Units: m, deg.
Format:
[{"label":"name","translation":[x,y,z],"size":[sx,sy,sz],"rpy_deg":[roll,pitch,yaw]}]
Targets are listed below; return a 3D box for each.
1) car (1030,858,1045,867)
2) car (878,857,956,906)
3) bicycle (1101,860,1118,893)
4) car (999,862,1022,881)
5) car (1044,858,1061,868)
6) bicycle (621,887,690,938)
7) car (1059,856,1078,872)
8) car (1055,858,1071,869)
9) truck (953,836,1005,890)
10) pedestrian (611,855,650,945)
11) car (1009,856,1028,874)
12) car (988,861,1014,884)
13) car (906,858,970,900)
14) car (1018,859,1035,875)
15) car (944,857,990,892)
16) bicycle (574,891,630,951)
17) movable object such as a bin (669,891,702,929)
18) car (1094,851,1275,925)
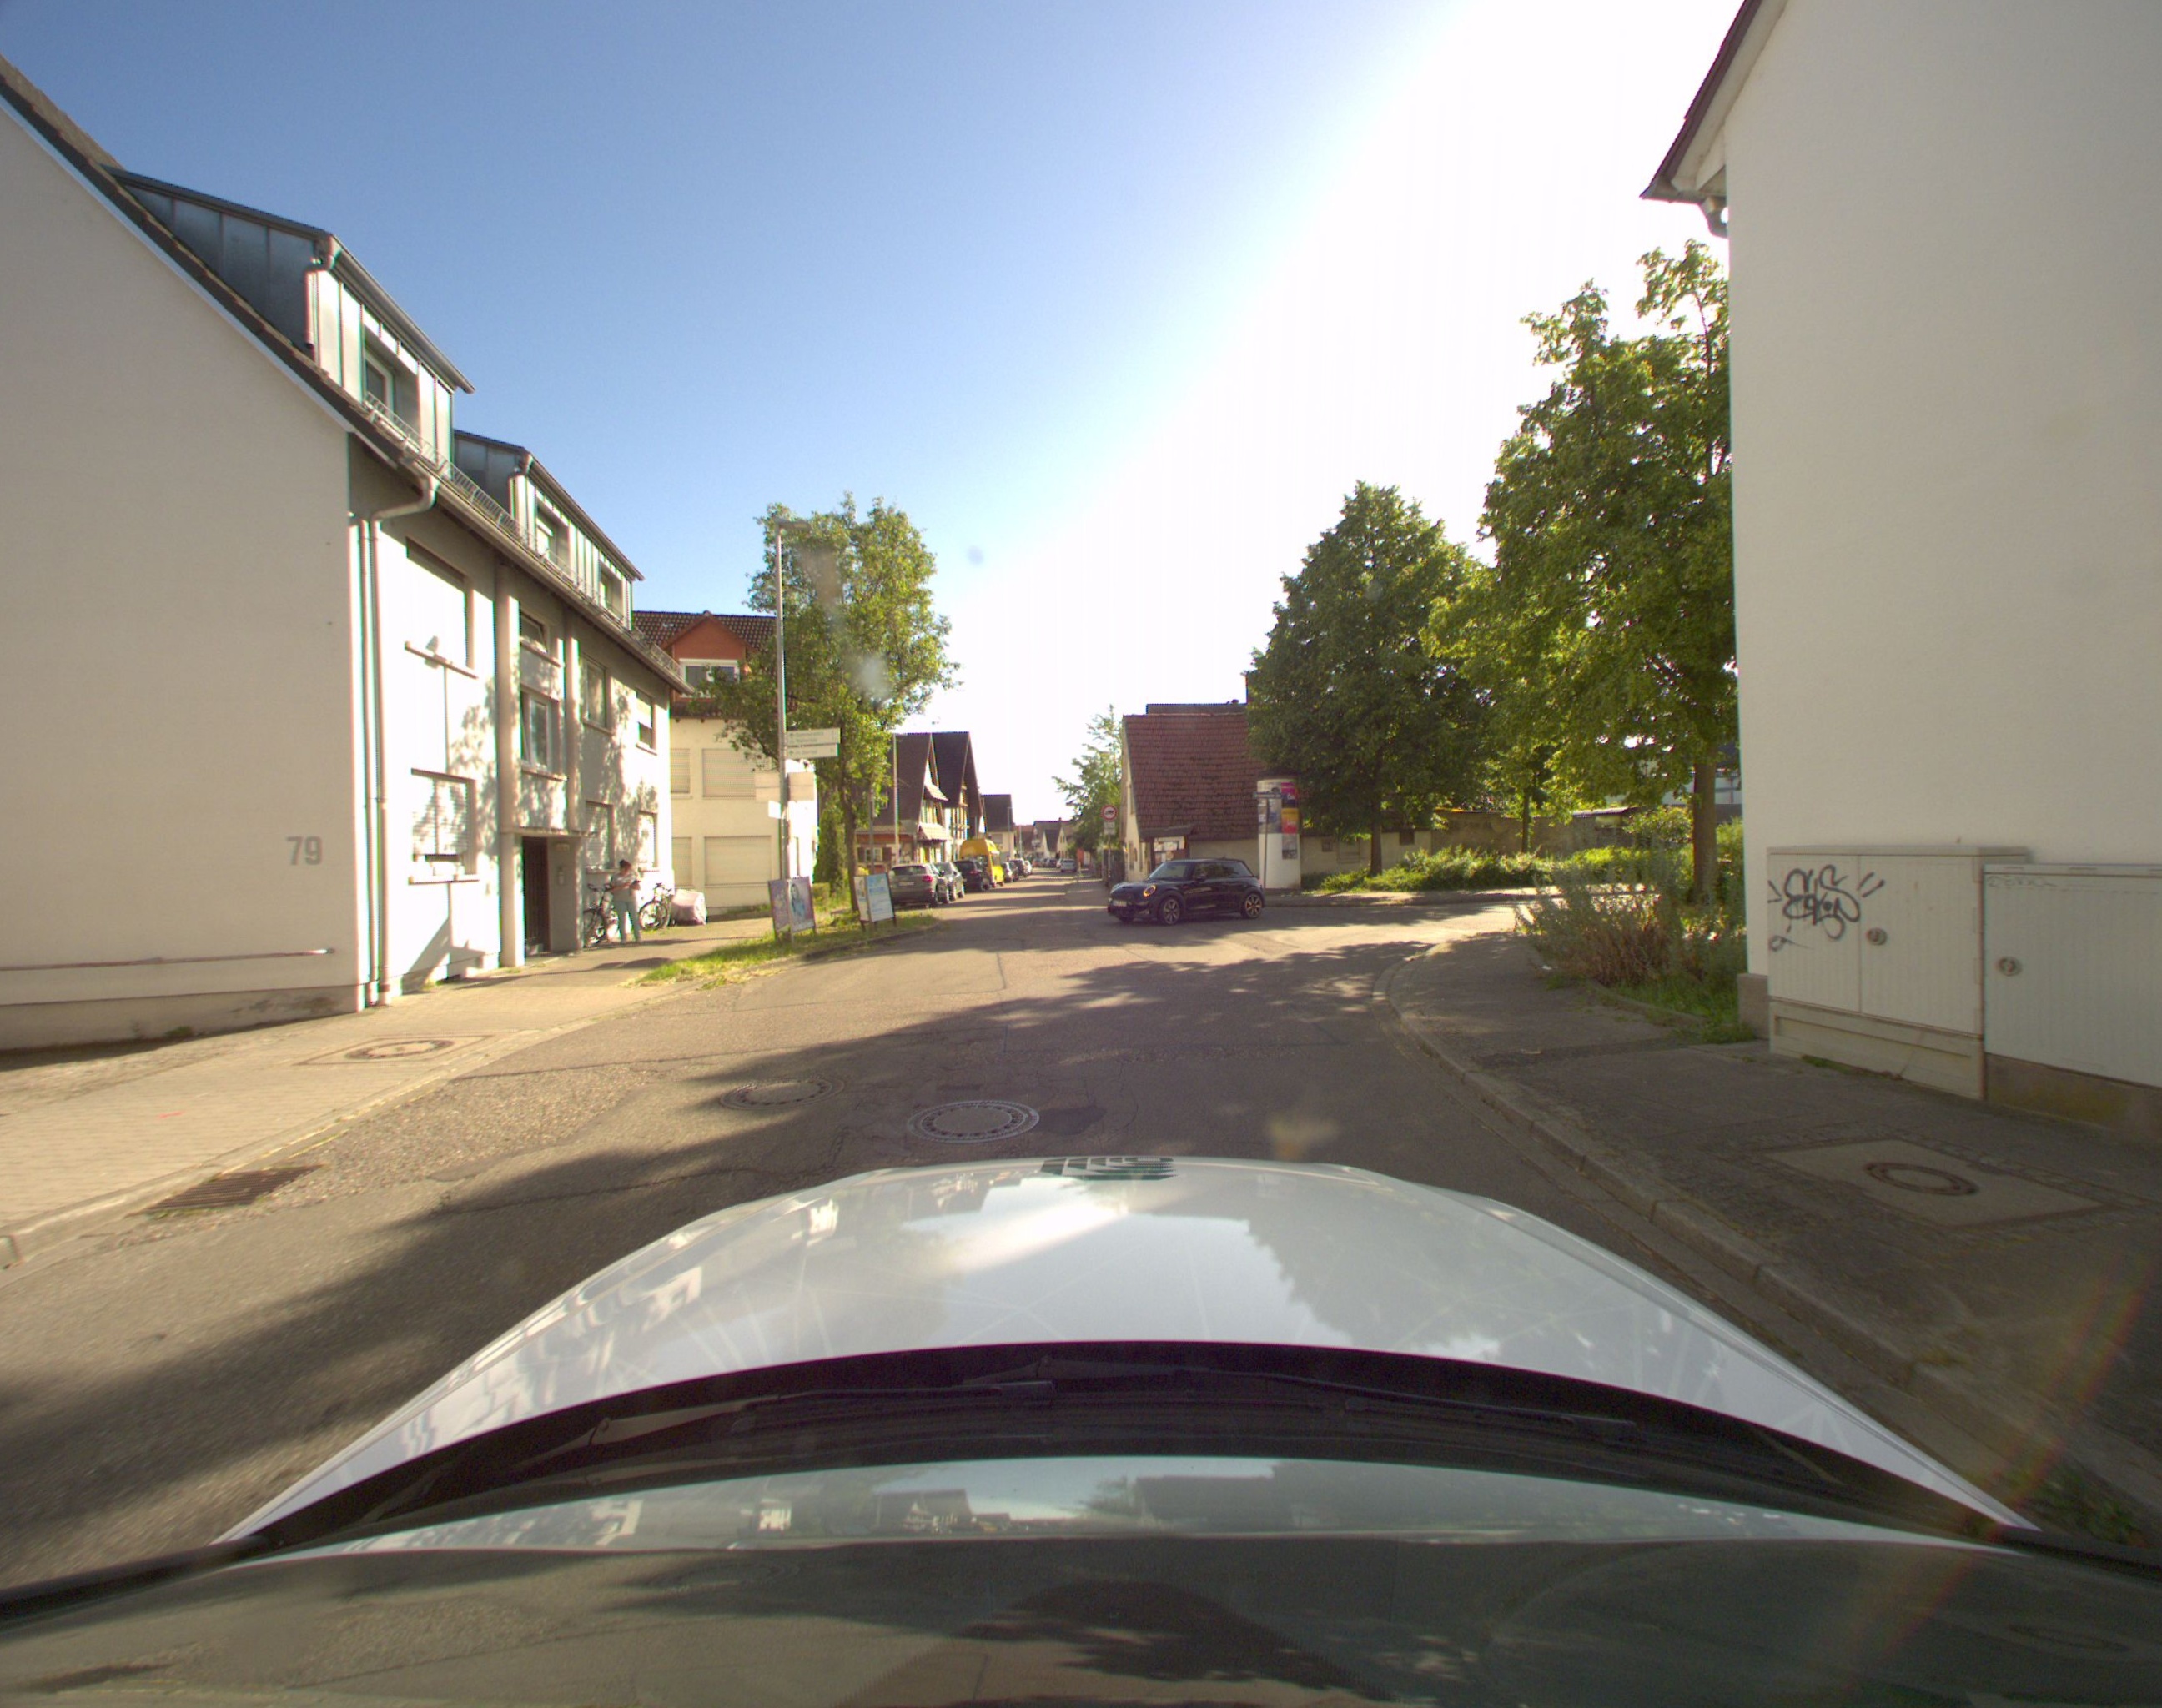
[{"label":"car","translation":[-7.804,1.550,146.494],"size":[1.977,1.583,3.974],"rpy_deg":[-1,0,-15]},{"label":"car","translation":[-5.562,0.898,28.152],"size":[1.862,1.506,4.105],"rpy_deg":[-2,-1,-1]},{"label":"bicycle","translation":[1.068,0.836,30.418],"size":[0.431,1.176,1.832],"rpy_deg":[-2,0,7]},{"label":"car","translation":[-5.232,1.289,60.734],"size":[1.585,1.336,3.609],"rpy_deg":[-1,0,-4]},{"label":"car","translation":[-4.776,1.511,136.614],"size":[1.977,1.583,3.974],"rpy_deg":[-1,0,-15]},{"label":"bicycle","translation":[-9.741,1.304,18.730],"size":[0.577,1.052,2.034],"rpy_deg":[-2,-1,-3]},{"label":"car","translation":[-1.458,1.126,94.060],"size":[1.969,1.714,3.989],"rpy_deg":[-1,0,-4]},{"label":"car","translation":[-2.725,1.422,124.217],"size":[1.972,1.583,3.983],"rpy_deg":[-1,0,-8]},{"label":"truck","translation":[-5.779,0.520,47.029],"size":[2.261,2.868,5.780],"rpy_deg":[-2,-1,-1]},{"label":"pedestrian","translation":[-8.646,0.878,15.639],"size":[0.483,1.693,0.555],"rpy_deg":[-1,-2,-6]},{"label":"car","translation":[-5.298,0.955,69.386],"size":[1.585,1.443,3.609],"rpy_deg":[-1,0,-4]},{"label":"car","translation":[-5.467,1.246,56.086],"size":[1.642,1.433,3.609],"rpy_deg":[-1,0,-4]},{"label":"car","translation":[-5.634,0.962,32.541],"size":[1.801,1.506,4.105],"rpy_deg":[-2,-1,-1]},{"label":"car","translation":[-5.455,1.286,81.303],"size":[1.585,1.443,3.609],"rpy_deg":[-1,0,-4]},{"label":"car","translation":[-5.763,1.030,41.470],"size":[1.801,1.622,3.879],"rpy_deg":[-2,-1,-1]},{"label":"bicycle","translation":[-9.032,1.236,15.400],"size":[0.423,1.052,1.377],"rpy_deg":[-2,-1,-9]},{"label":"movable object such as a bin","translation":[-10.283,1.453,21.184],"size":[0.626,0.945,0.657],"rpy_deg":[-1,-1,-15]},{"label":"car","translation":[2.417,0.704,18.673],"size":[4.015,1.477,1.648],"rpy_deg":[-1,0,-33]}]
